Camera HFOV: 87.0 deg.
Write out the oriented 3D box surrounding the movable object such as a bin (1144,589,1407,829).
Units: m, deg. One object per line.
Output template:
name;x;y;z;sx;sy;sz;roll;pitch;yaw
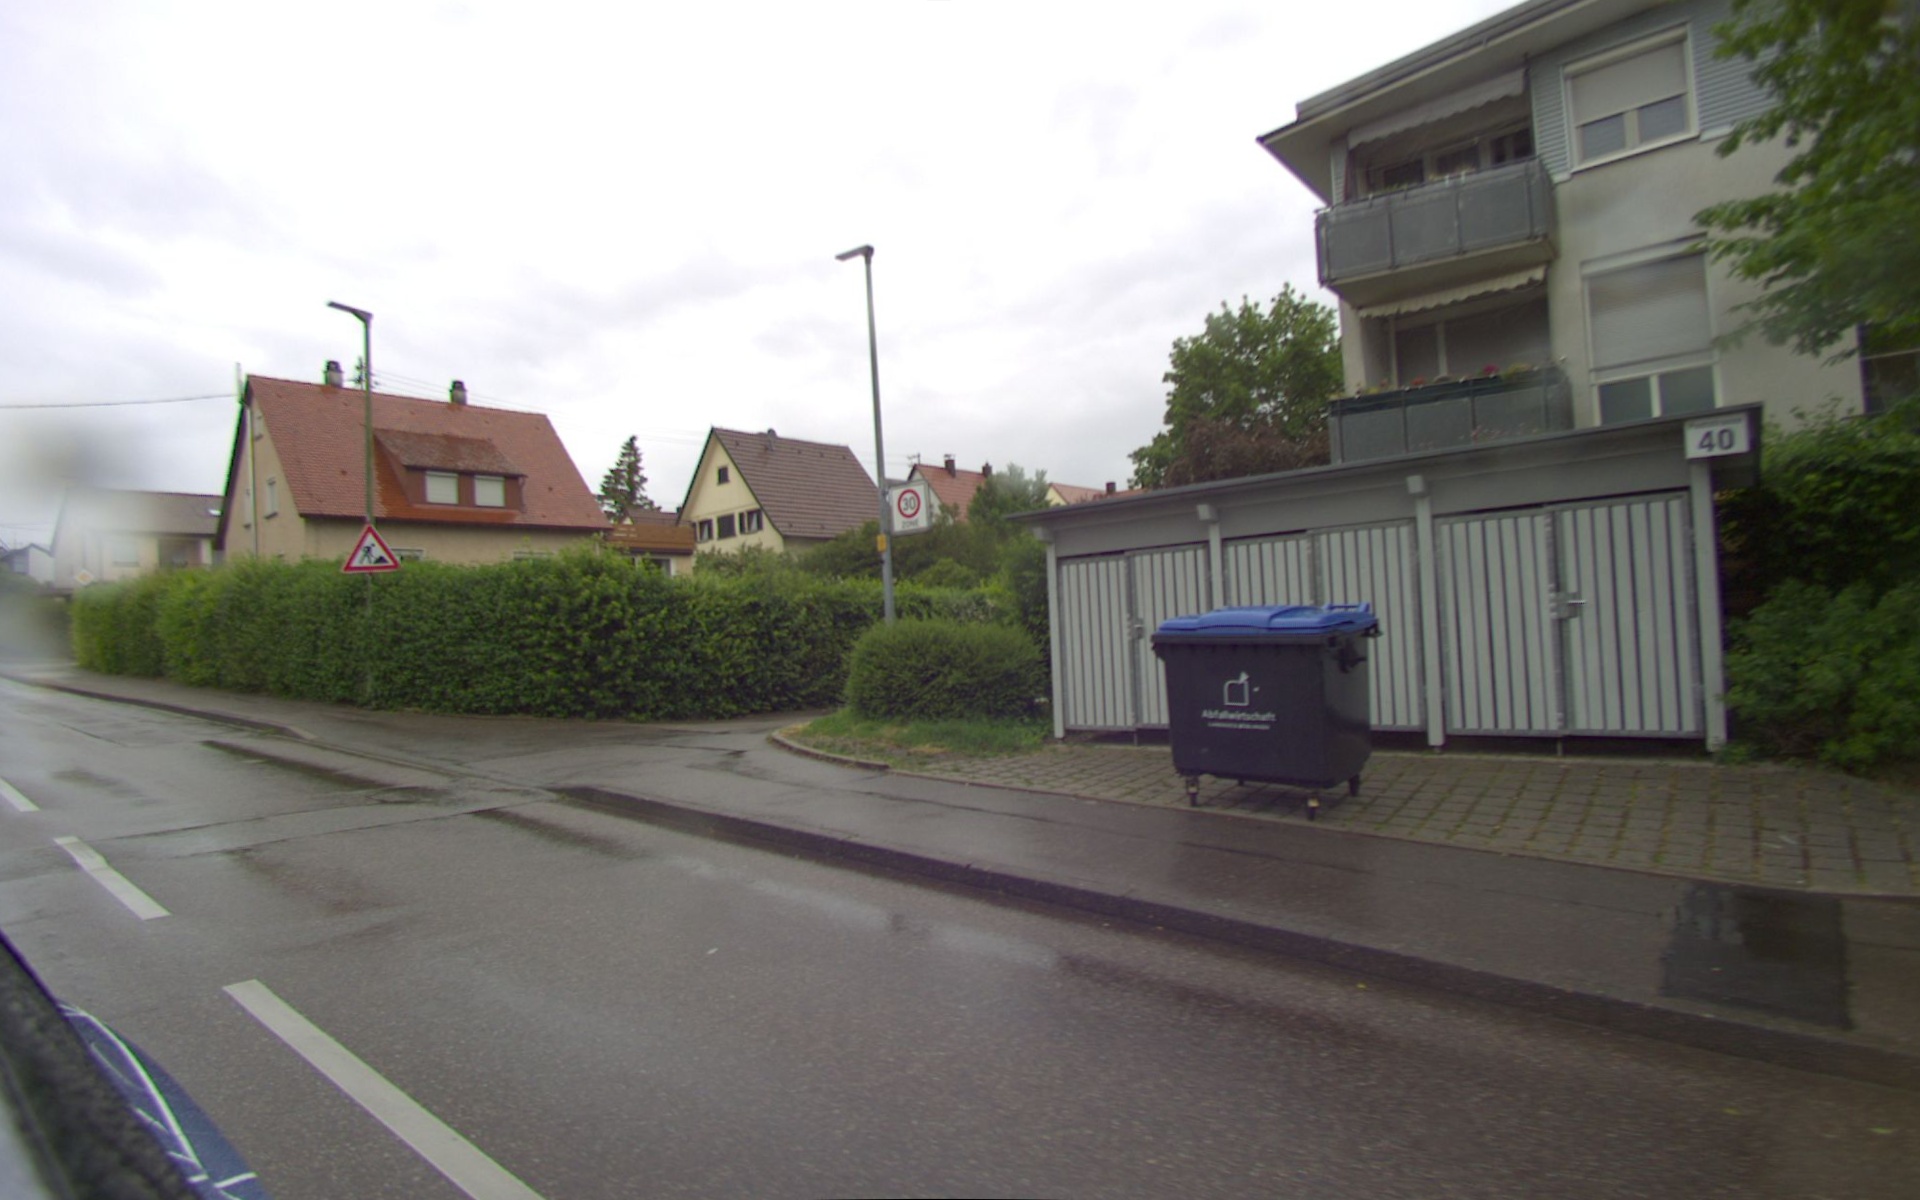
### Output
movable object such as a bin;2.081;0.641;6.674;1.318;1.357;1.061;-2;1;39
